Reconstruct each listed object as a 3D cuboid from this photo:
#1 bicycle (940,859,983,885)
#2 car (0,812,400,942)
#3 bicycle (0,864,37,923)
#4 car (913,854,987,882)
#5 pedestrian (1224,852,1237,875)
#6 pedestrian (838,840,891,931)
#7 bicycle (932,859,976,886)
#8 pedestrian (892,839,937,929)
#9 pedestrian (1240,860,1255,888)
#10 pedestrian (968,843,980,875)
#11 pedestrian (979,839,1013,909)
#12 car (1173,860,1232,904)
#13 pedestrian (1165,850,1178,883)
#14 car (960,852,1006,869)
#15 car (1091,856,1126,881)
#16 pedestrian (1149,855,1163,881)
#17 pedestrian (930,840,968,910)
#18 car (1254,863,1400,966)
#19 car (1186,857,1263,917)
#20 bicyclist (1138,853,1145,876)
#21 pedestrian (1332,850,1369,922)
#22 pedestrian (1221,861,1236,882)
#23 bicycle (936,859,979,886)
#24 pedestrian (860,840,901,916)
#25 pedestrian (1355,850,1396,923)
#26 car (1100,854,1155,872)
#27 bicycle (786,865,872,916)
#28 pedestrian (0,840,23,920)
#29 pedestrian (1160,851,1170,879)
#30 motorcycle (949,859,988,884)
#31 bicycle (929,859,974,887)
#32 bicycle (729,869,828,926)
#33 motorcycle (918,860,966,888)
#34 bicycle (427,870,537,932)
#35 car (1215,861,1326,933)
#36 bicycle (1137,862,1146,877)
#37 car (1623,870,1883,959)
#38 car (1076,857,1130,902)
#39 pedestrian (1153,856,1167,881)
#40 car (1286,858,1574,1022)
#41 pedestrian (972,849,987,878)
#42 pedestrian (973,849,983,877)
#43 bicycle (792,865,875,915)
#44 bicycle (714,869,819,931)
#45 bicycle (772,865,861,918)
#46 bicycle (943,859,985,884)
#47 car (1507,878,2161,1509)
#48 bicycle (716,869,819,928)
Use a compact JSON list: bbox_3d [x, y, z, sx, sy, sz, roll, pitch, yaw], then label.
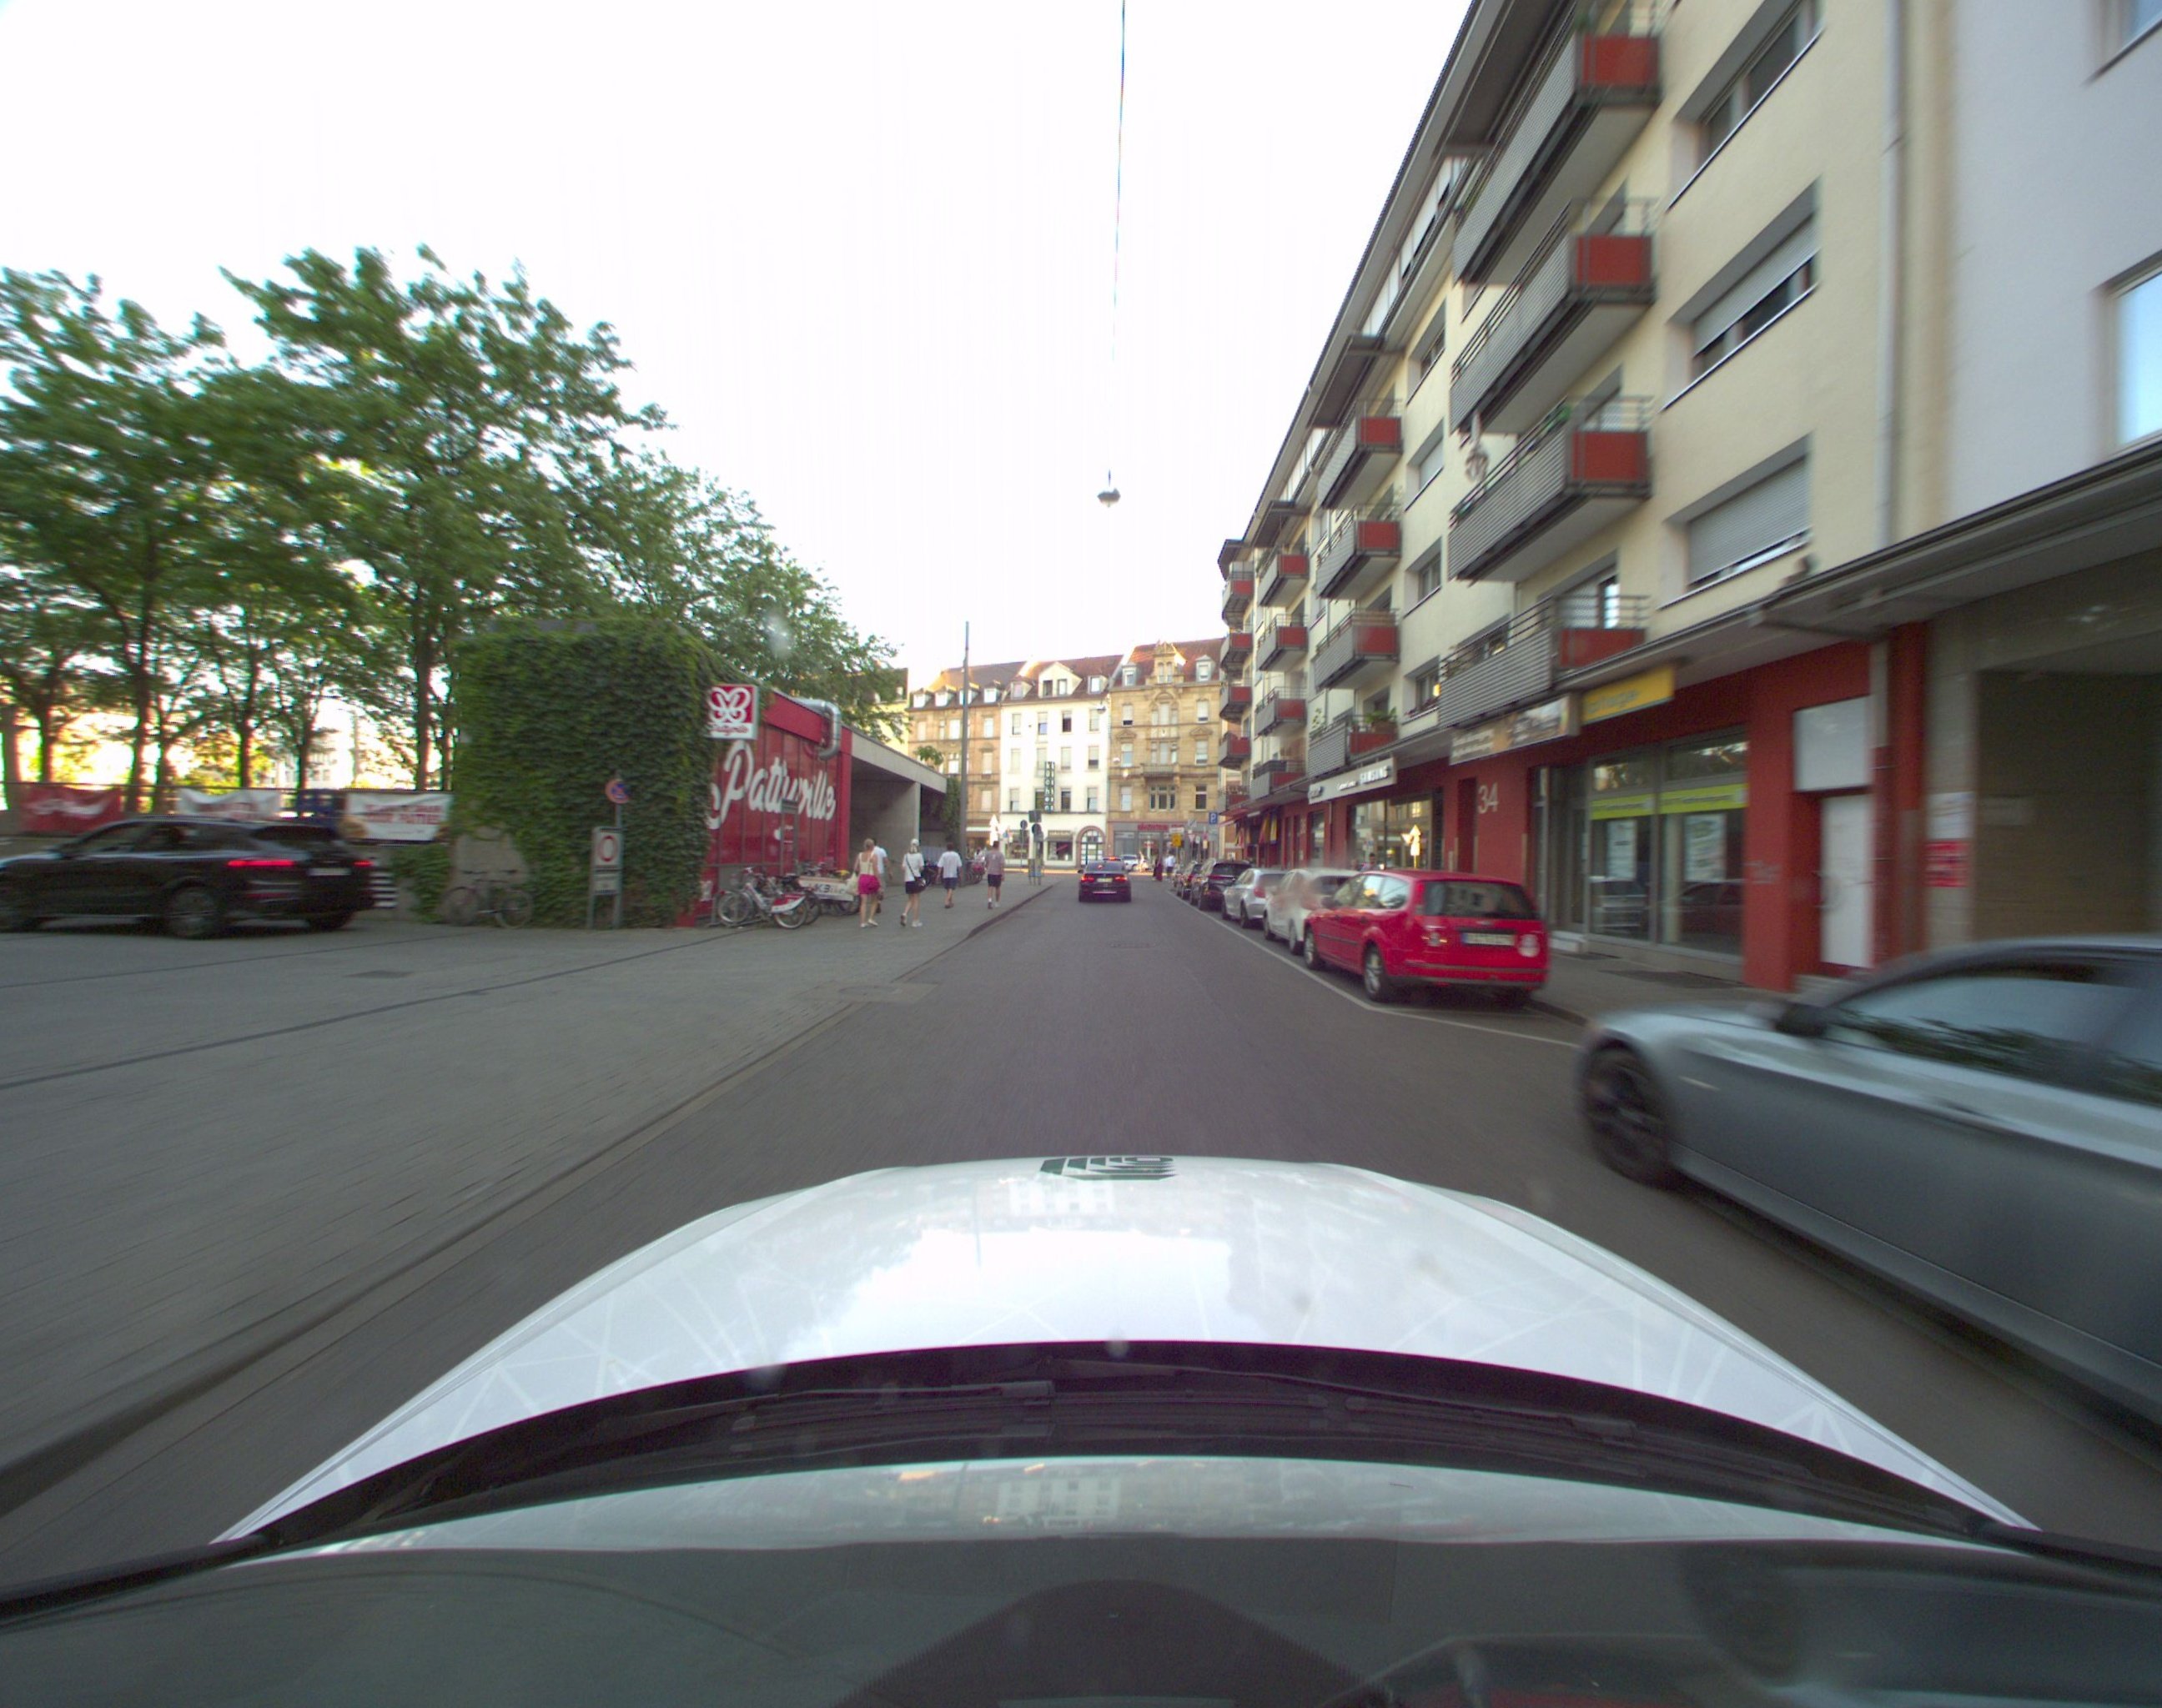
[{"bbox_3d":[-5.338,0.795,36.424,1.789,1.107,0.500,2,0,-2],"label":"bicycle"},{"bbox_3d":[-13.150,0.302,12.205,4.202,1.760,2.069,0,0,3],"label":"car"},{"bbox_3d":[-17.805,0.637,13.197,1.192,0.929,0.495,1,0,4],"label":"bicycle"},{"bbox_3d":[-7.253,0.782,45.394,3.982,1.501,1.887,0,0,-7],"label":"car"},{"bbox_3d":[7.973,0.490,43.465,0.421,1.201,0.531,-2,-1,-41],"label":"pedestrian"},{"bbox_3d":[-4.301,0.612,16.246,0.750,1.749,0.847,2,0,1],"label":"pedestrian"},{"bbox_3d":[-5.446,0.787,34.972,1.786,1.107,0.501,2,0,4],"label":"bicycle"},{"bbox_3d":[-3.364,0.594,16.514,0.646,1.750,0.986,1,0,1],"label":"pedestrian"},{"bbox_3d":[8.344,1.000,40.774,0.604,1.348,0.696,-1,0,1],"label":"pedestrian"},{"bbox_3d":[-6.451,0.284,49.109,0.580,1.882,0.635,0,0,7],"label":"pedestrian"},{"bbox_3d":[-2.371,0.543,22.860,0.741,1.893,1.051,2,0,2],"label":"pedestrian"},{"bbox_3d":[4.800,1.052,32.691,1.758,1.502,4.793,3,0,2],"label":"car"},{"bbox_3d":[5.315,0.733,47.593,0.672,1.877,0.703,1,0,10],"label":"pedestrian"},{"bbox_3d":[-9.259,0.620,77.151,3.951,1.510,1.810,0,-1,24],"label":"car"},{"bbox_3d":[1.697,0.847,49.339,1.868,1.473,4.006,0,0,6],"label":"car"},{"bbox_3d":[4.664,0.879,50.657,0.723,1.609,0.648,2,0,-7],"label":"pedestrian"},{"bbox_3d":[-3.573,0.562,22.119,0.738,1.812,1.009,3,0,1],"label":"pedestrian"},{"bbox_3d":[4.371,0.990,15.083,1.600,1.512,4.051,3,0,3],"label":"car"},{"bbox_3d":[4.609,1.000,26.800,1.758,1.642,4.793,3,0,2],"label":"car"},{"bbox_3d":[4.695,0.801,63.174,0.522,1.756,0.620,1,-1,0],"label":"bicyclist"},{"bbox_3d":[6.339,0.742,19.180,0.645,1.661,0.656,-2,-1,3],"label":"pedestrian"},{"bbox_3d":[8.922,1.045,49.131,0.611,1.279,0.705,0,0,39],"label":"pedestrian"},{"bbox_3d":[-5.400,0.793,35.721,1.790,1.107,0.499,2,0,-4],"label":"bicycle"},{"bbox_3d":[-4.700,0.553,19.135,0.714,1.754,0.848,1,0,0],"label":"pedestrian"},{"bbox_3d":[6.912,0.745,19.126,0.645,1.661,0.794,-2,-1,3],"label":"pedestrian"},{"bbox_3d":[4.036,0.765,70.827,4.312,1.562,1.879,0,-1,24],"label":"car"},{"bbox_3d":[-5.808,0.833,18.790,1.786,1.107,0.501,2,0,4],"label":"bicycle"},{"bbox_3d":[-17.800,0.417,13.200,0.645,1.303,0.493,1,0,4],"label":"pedestrian"},{"bbox_3d":[5.344,0.694,51.542,0.601,1.746,0.671,0,0,8],"label":"pedestrian"},{"bbox_3d":[-5.392,0.846,38.979,1.757,1.101,0.561,2,0,-33],"label":"motorcycle"},{"bbox_3d":[-5.462,0.787,34.378,1.788,1.107,0.500,2,0,0],"label":"bicycle"},{"bbox_3d":[-6.123,0.870,16.524,1.788,1.107,0.500,1,0,0],"label":"bicycle"},{"bbox_3d":[-5.628,0.798,32.947,1.783,1.064,0.769,2,0,27],"label":"motorcycle"},{"bbox_3d":[-10.400,0.813,14.151,1.653,1.013,0.371,1,-1,3],"label":"bicycle"},{"bbox_3d":[4.562,0.970,20.259,1.693,1.452,4.458,3,0,0],"label":"car"},{"bbox_3d":[4.679,1.215,63.192,0.534,1.107,1.800,1,0,1],"label":"bicycle"},{"bbox_3d":[12.153,1.009,15.124,1.732,1.336,4.004,0,0,4],"label":"car"},{"bbox_3d":[0.820,0.852,29.298,1.758,1.375,4.793,2,0,2],"label":"car"},{"bbox_3d":[4.846,0.906,50.001,0.735,1.513,0.648,2,0,-7],"label":"pedestrian"},{"bbox_3d":[4.109,0.883,10.552,1.706,1.512,4.652,3,0,0],"label":"car"},{"bbox_3d":[-6.230,0.569,49.985,0.665,1.746,0.661,0,0,41],"label":"pedestrian"},{"bbox_3d":[-6.144,0.555,48.468,0.498,1.643,0.521,0,0,4],"label":"pedestrian"},{"bbox_3d":[-5.838,0.837,19.263,1.786,1.107,0.501,2,0,4],"label":"bicycle"},{"bbox_3d":[-6.021,0.874,15.640,1.787,1.107,0.500,1,0,1],"label":"bicycle"},{"bbox_3d":[-5.884,0.828,18.161,1.786,1.107,0.501,2,0,4],"label":"bicycle"},{"bbox_3d":[-5.355,0.797,37.352,1.787,1.107,0.500,2,0,1],"label":"bicycle"},{"bbox_3d":[3.513,0.916,2.696,1.731,1.415,4.682,3,0,0],"label":"car"},{"bbox_3d":[-6.138,0.865,15.988,1.788,1.107,0.500,1,0,0],"label":"bicycle"}]
